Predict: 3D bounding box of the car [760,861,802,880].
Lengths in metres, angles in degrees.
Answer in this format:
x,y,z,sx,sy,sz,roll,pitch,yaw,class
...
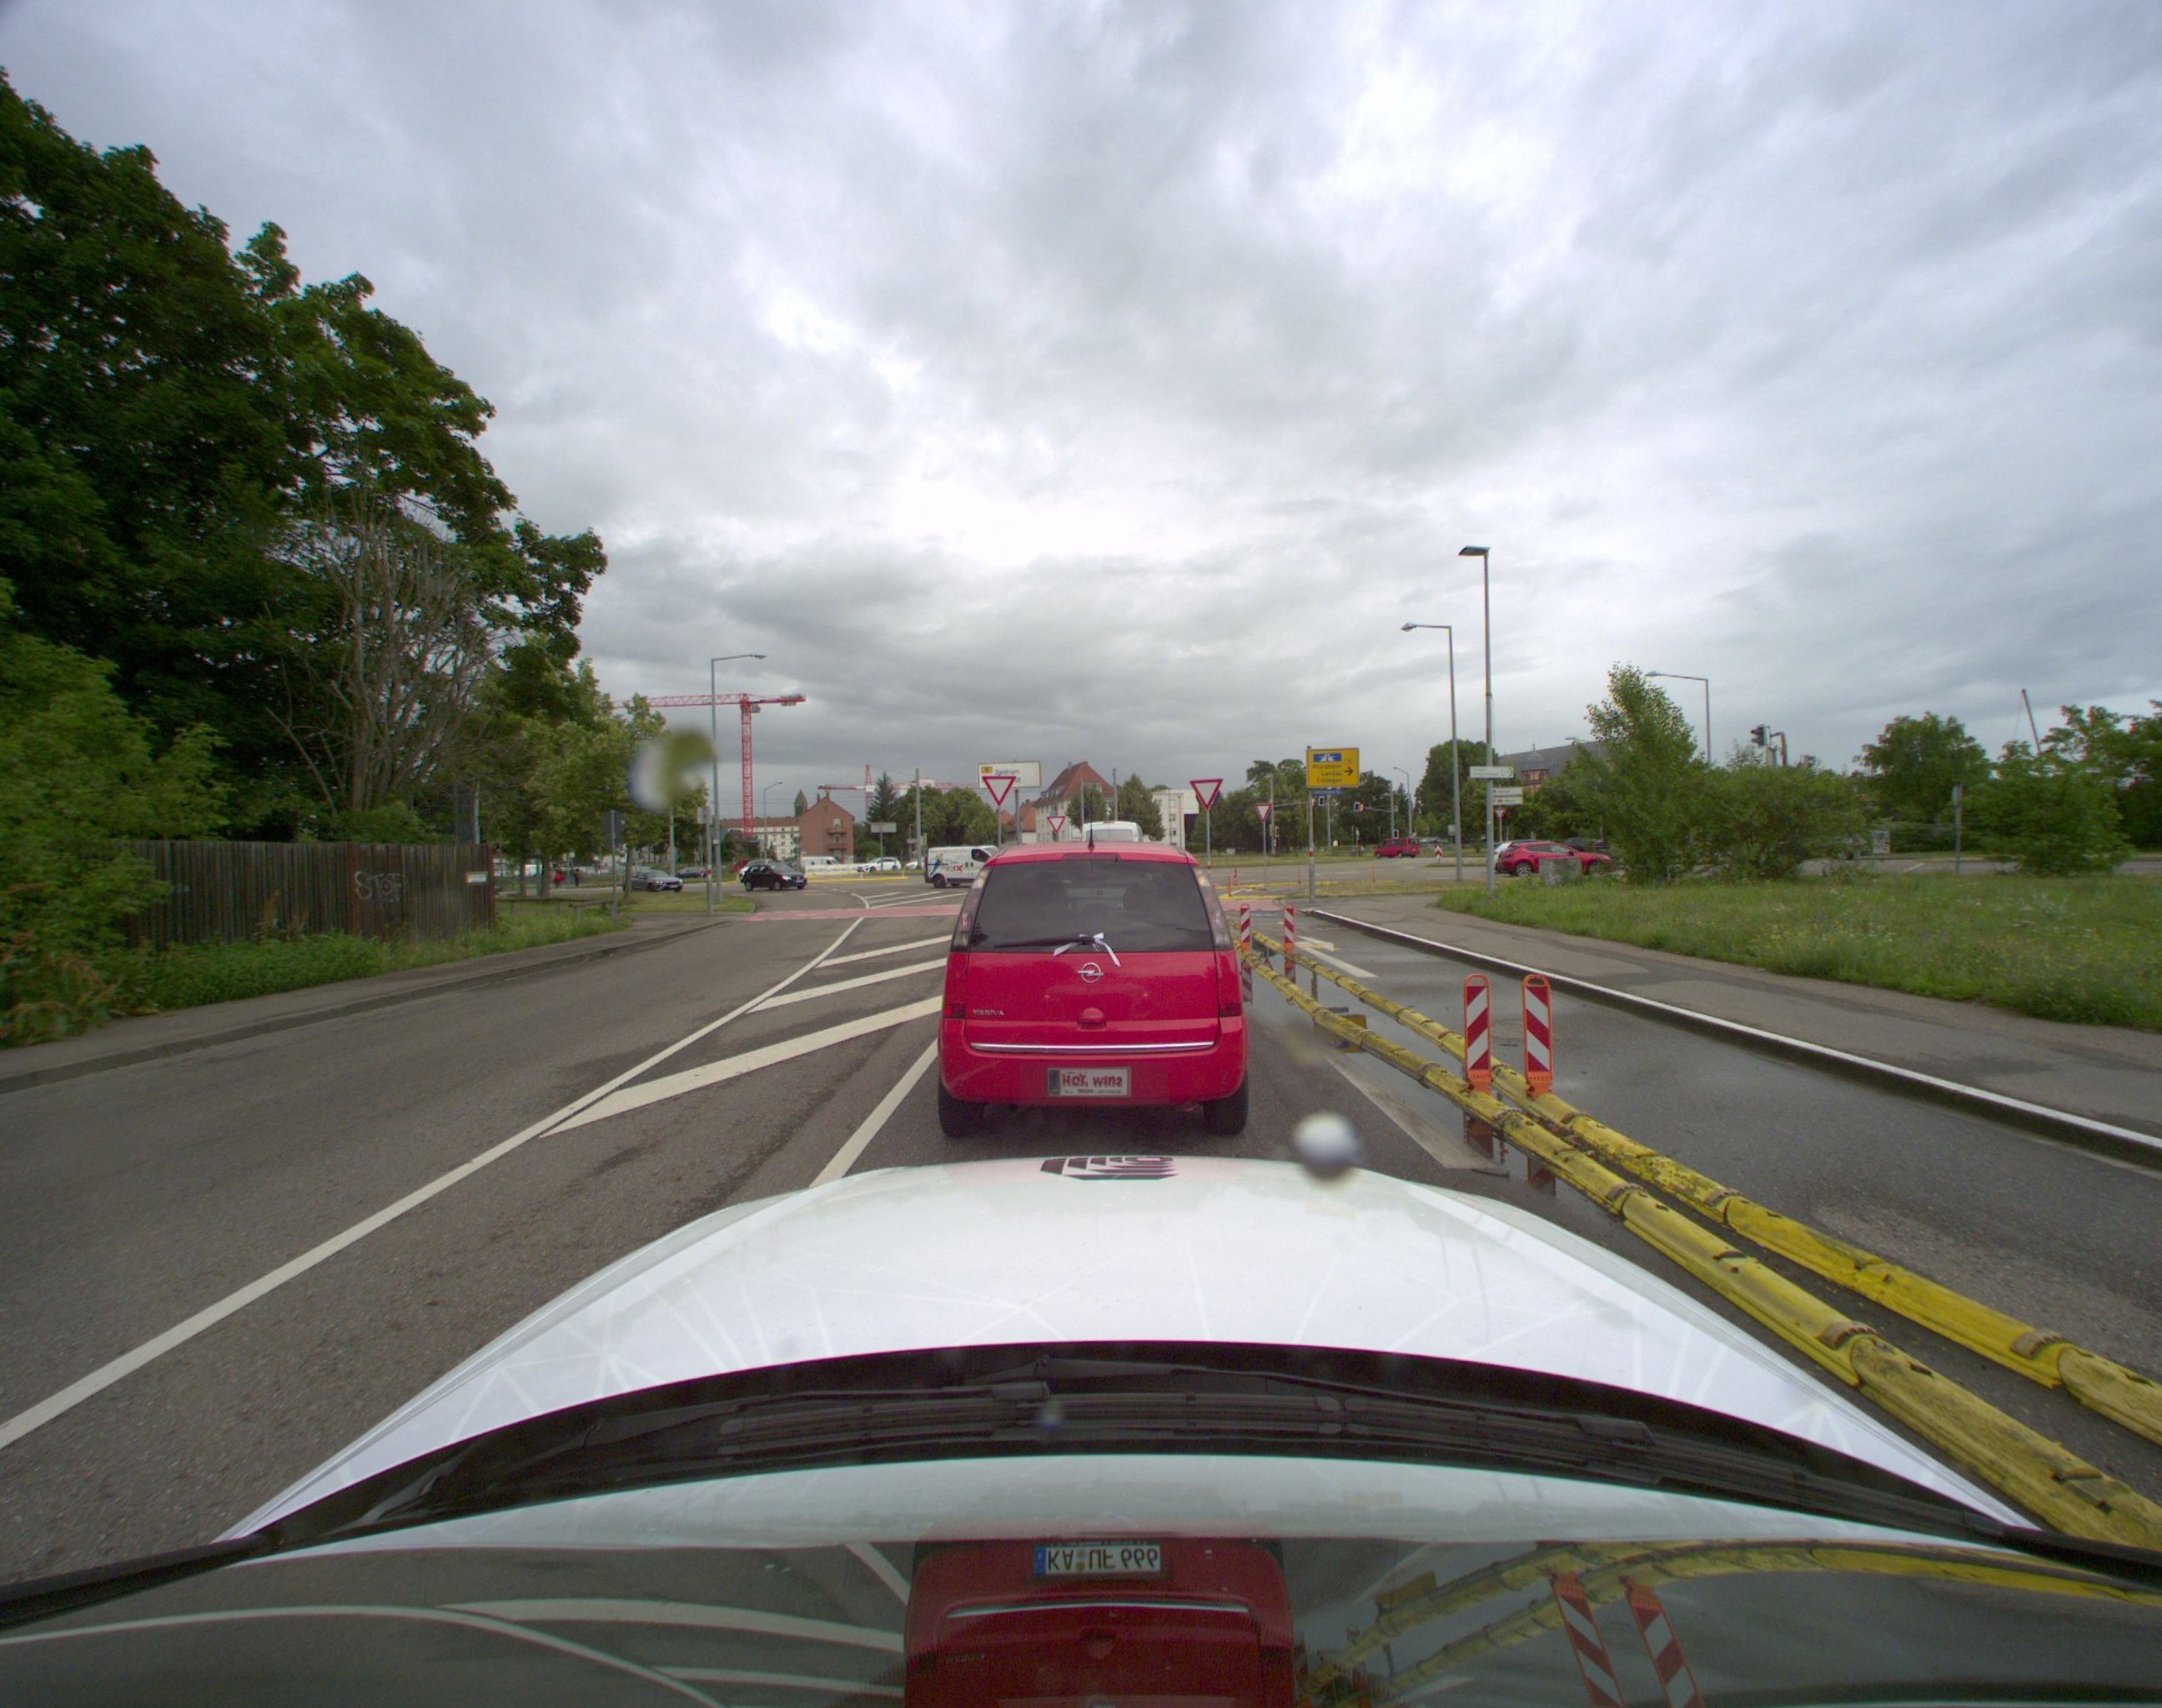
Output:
x,y,z,sx,sy,sz,roll,pitch,yaw,class
-25.232,1.384,68.629,1.923,1.489,4.002,-2,0,2,car

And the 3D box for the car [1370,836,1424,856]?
x,y,z,sx,sy,sz,roll,pitch,yaw,class
32.248,-0.806,83.242,2.121,1.917,4.846,-2,0,-27,car

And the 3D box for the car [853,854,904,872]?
x,y,z,sx,sy,sz,roll,pitch,yaw,class
-20.202,0.891,81.288,1.974,1.635,4.705,-2,0,39,car

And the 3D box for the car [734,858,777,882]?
x,y,z,sx,sy,sz,roll,pitch,yaw,class
-24.854,1.211,62.412,1.928,1.684,4.180,-2,0,-6,car

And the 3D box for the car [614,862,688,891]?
x,y,z,sx,sy,sz,roll,pitch,yaw,class
-26.213,1.393,49.643,4.383,1.602,2.112,-2,0,34,car

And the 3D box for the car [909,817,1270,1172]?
x,y,z,sx,sy,sz,roll,pitch,yaw,class
0.095,0.648,5.606,1.667,1.640,3.629,-1,0,2,car

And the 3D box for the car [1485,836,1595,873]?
x,y,z,sx,sy,sz,roll,pitch,yaw,class
20.541,0.010,36.619,3.957,1.508,2.009,-2,0,16,car

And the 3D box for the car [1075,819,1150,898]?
x,y,z,sx,sy,sz,roll,pitch,yaw,class
1.218,0.143,29.043,2.183,2.540,4.973,-1,0,7,car

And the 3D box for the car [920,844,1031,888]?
x,y,z,sx,sy,sz,roll,pitch,yaw,class
-5.039,0.578,39.001,4.792,1.900,2.109,-2,0,19,car

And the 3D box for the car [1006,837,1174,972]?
x,y,z,sx,sy,sz,roll,pitch,yaw,class
0.181,0.611,12.309,2.052,1.648,4.609,-1,0,2,car

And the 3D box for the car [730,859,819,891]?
x,y,z,sx,sy,sz,roll,pitch,yaw,class
-16.598,1.145,44.114,4.383,1.602,2.112,-2,0,29,car

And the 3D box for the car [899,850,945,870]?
x,y,z,sx,sy,sz,roll,pitch,yaw,class
-16.708,0.607,85.896,1.974,2.013,4.509,-2,0,37,car

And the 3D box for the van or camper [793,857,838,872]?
x,y,z,sx,sy,sz,roll,pitch,yaw,class
-39.507,1.608,121.387,6.135,2.013,2.007,-2,0,12,van or camper

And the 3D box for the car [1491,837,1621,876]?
x,y,z,sx,sy,sz,roll,pitch,yaw,class
19.814,0.094,34.173,4.310,1.464,2.009,-2,0,16,car

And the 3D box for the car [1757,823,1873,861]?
x,y,z,sx,sy,sz,roll,pitch,yaw,class
43.172,-0.684,47.982,2.011,2.013,4.881,-2,0,-42,car
